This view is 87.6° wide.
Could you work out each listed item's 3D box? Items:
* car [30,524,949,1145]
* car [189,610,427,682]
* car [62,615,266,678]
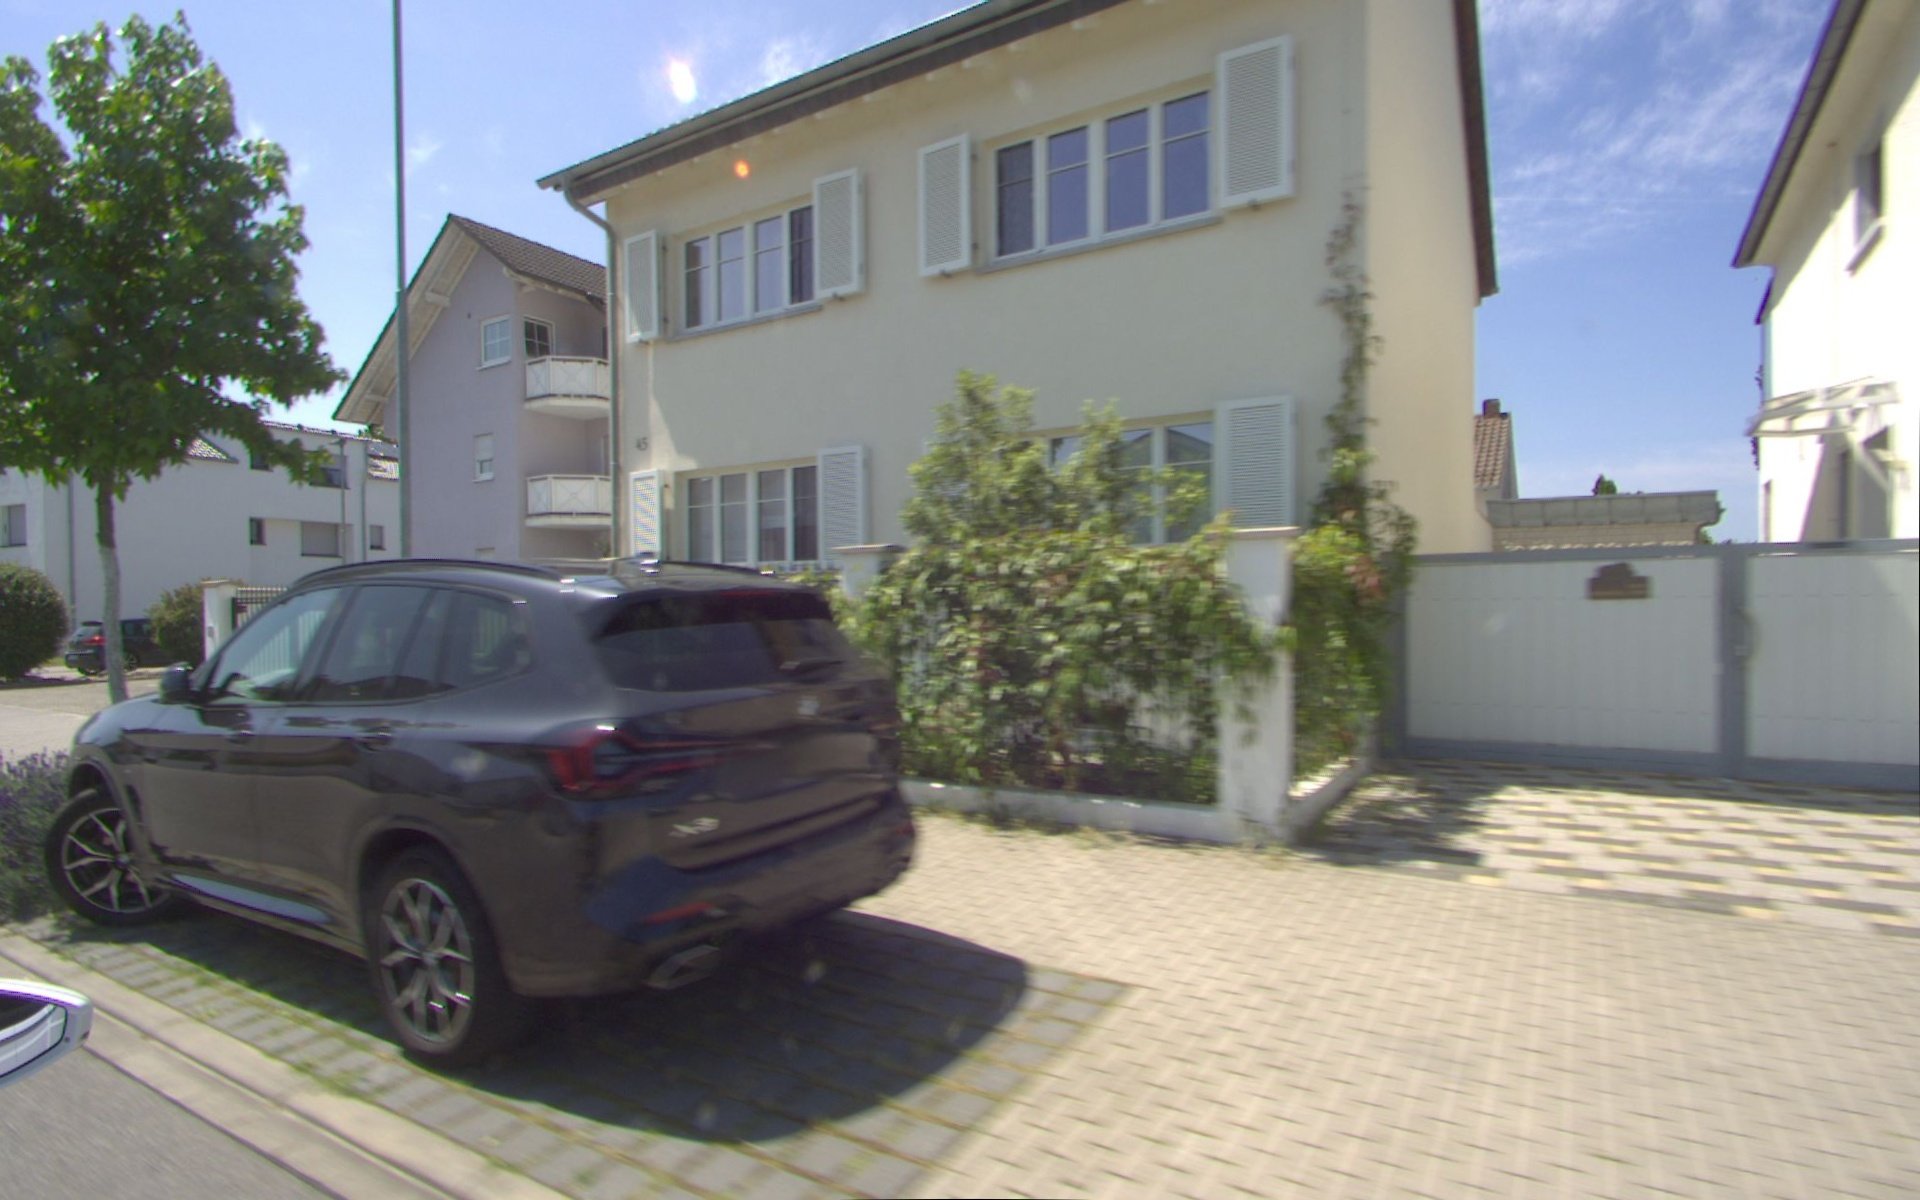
[{"bbox_3d":[-2.411,0.631,4.692,4.499,1.678,1.810,0,1,33],"label":"car"},{"bbox_3d":[-14.362,0.948,22.323,1.639,1.392,4.197,0,0,28],"label":"car"},{"bbox_3d":[-21.256,1.189,26.887,1.733,1.487,3.978,0,0,36],"label":"car"}]
